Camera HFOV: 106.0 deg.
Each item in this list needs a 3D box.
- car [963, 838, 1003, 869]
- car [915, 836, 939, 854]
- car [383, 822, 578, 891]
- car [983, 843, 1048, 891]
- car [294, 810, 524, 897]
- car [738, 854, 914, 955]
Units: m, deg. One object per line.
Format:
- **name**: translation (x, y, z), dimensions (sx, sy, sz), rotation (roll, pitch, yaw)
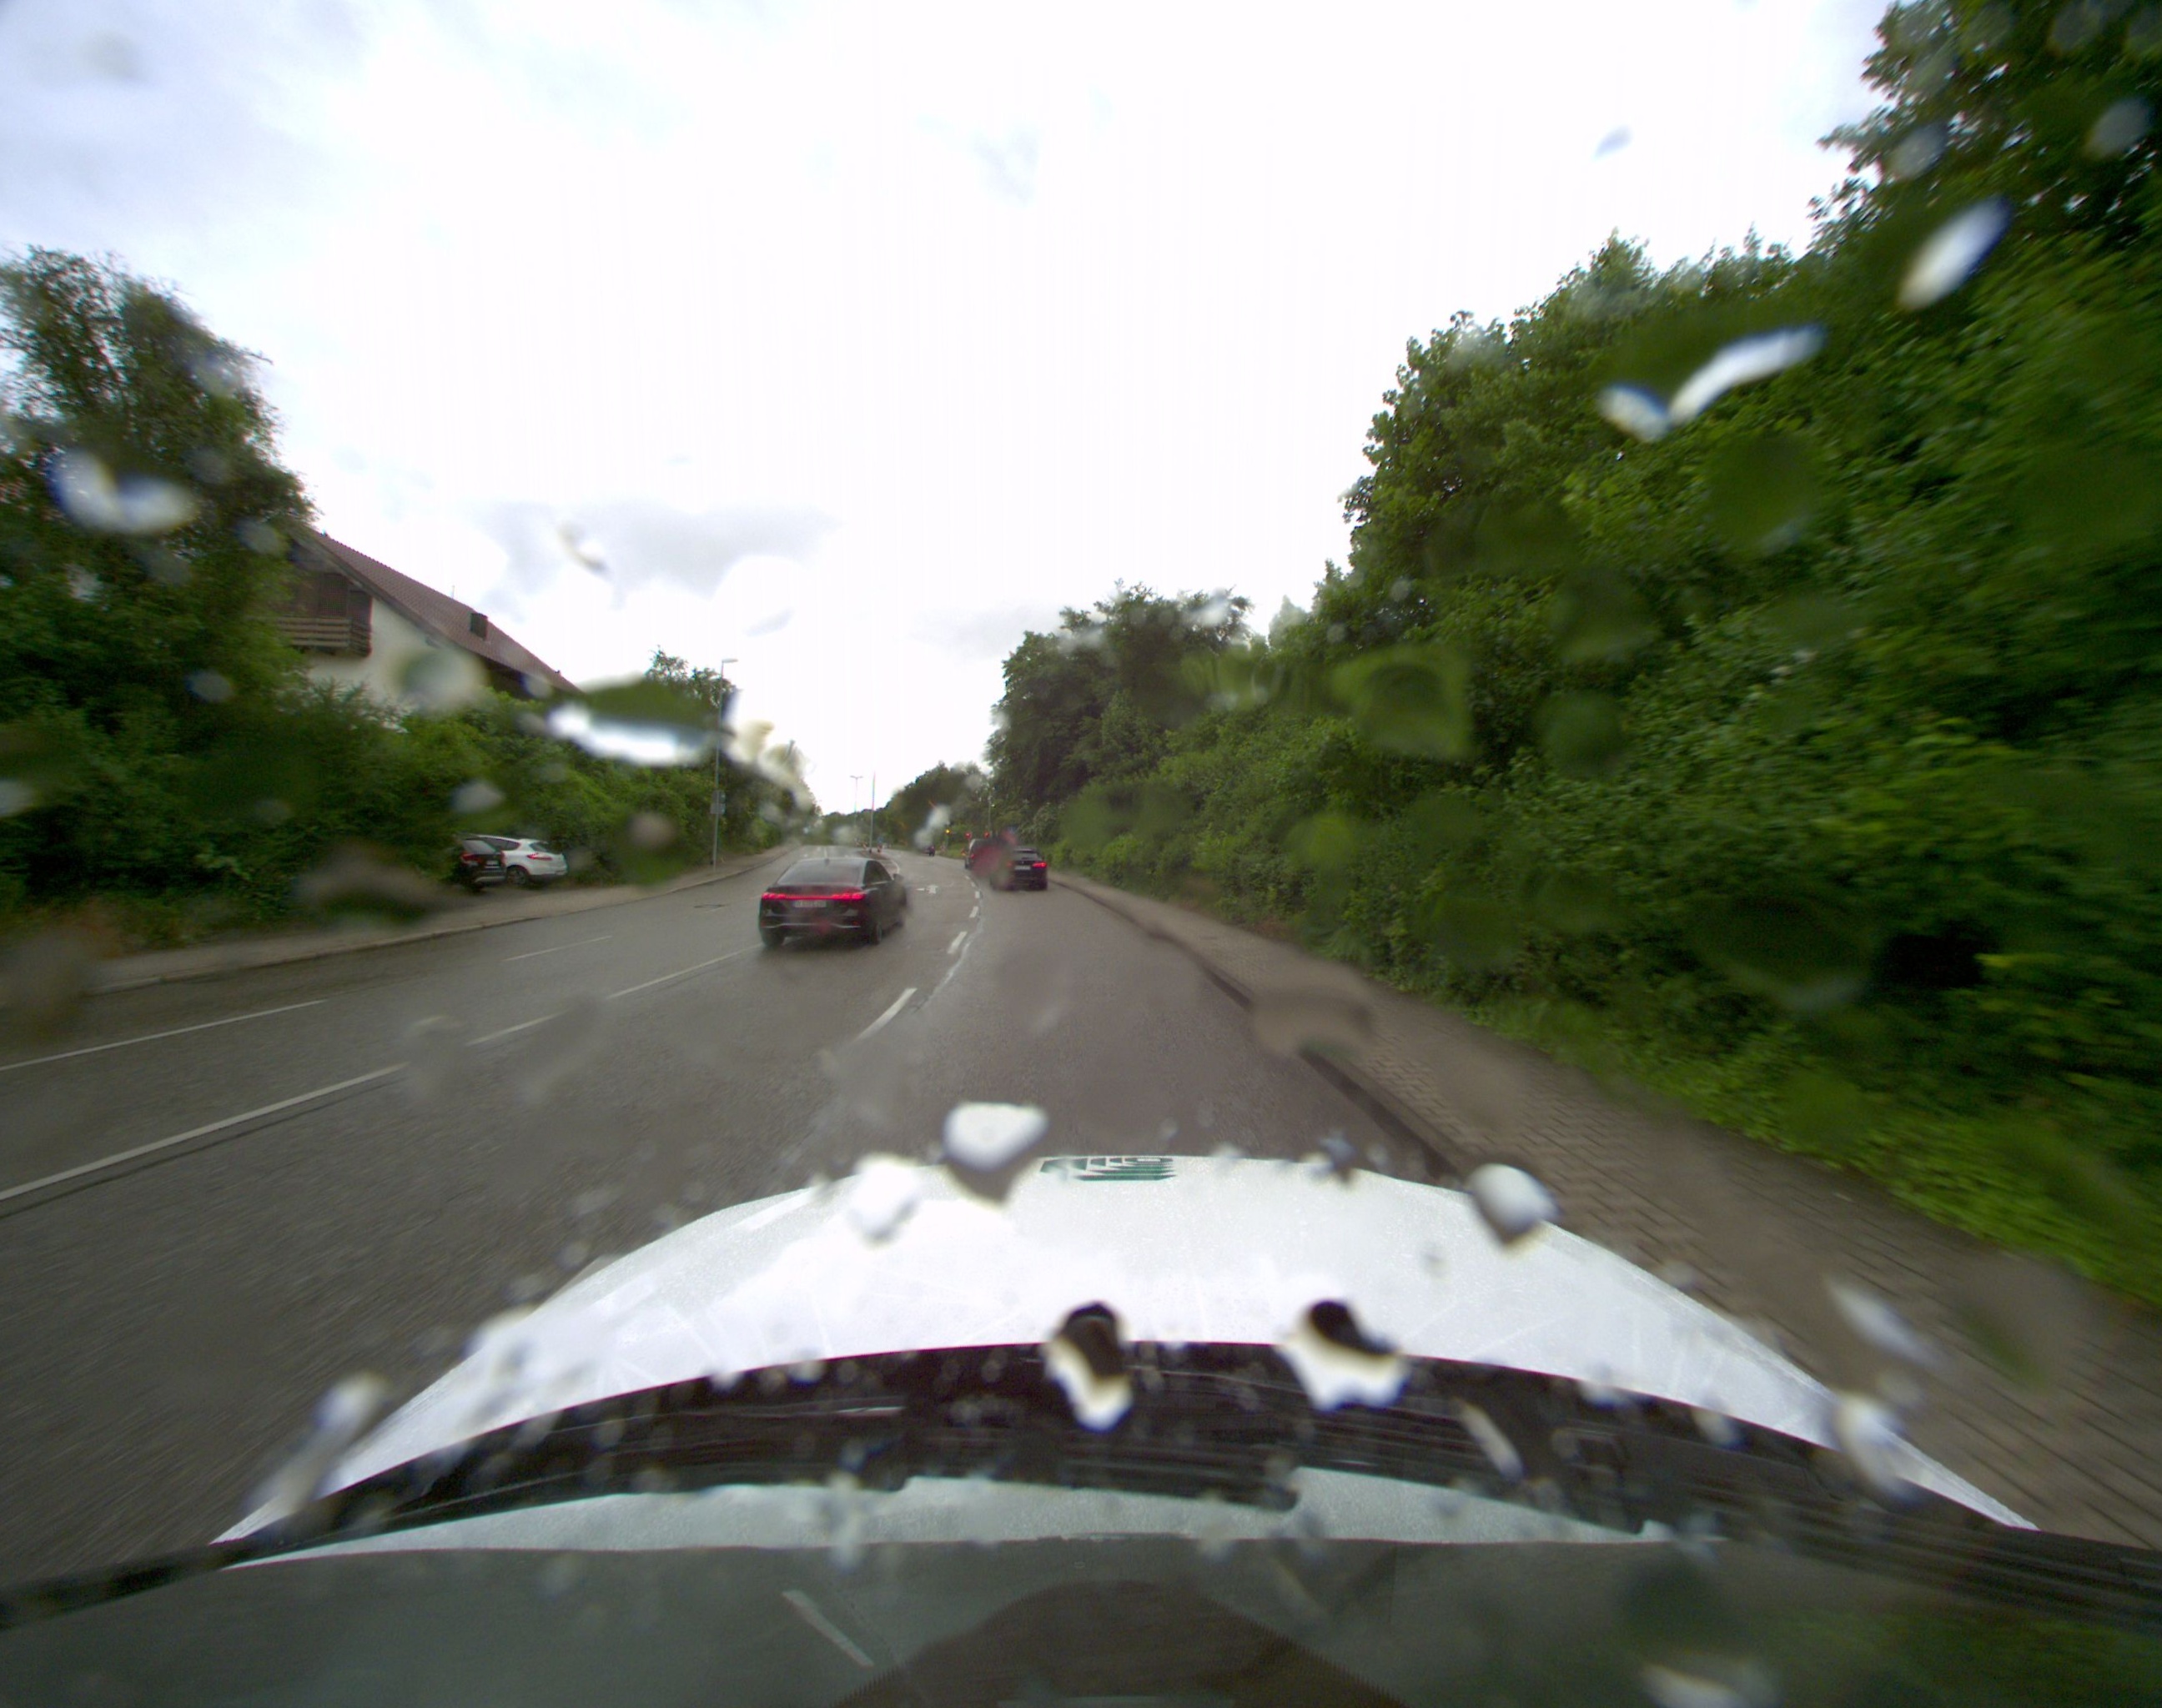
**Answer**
- **car**: translation (-5.934, -0.034, 48.876), dimensions (1.995, 1.748, 3.983), rotation (0, 0, -13)
- **car**: translation (-16.052, -0.935, 84.804), dimensions (1.856, 1.662, 3.974), rotation (2, -3, -18)
- **car**: translation (-17.221, 0.083, 23.578), dimensions (3.991, 1.447, 1.847), rotation (7, -1, -13)
- **car**: translation (-2.451, 0.410, 29.325), dimensions (1.993, 1.586, 4.649), rotation (1, 1, -9)
- **car**: translation (-17.128, 0.005, 20.966), dimensions (3.986, 1.679, 1.850), rotation (7, -1, -9)
- **car**: translation (-4.317, 0.758, 14.666), dimensions (1.901, 1.398, 4.851), rotation (0, 1, -4)
